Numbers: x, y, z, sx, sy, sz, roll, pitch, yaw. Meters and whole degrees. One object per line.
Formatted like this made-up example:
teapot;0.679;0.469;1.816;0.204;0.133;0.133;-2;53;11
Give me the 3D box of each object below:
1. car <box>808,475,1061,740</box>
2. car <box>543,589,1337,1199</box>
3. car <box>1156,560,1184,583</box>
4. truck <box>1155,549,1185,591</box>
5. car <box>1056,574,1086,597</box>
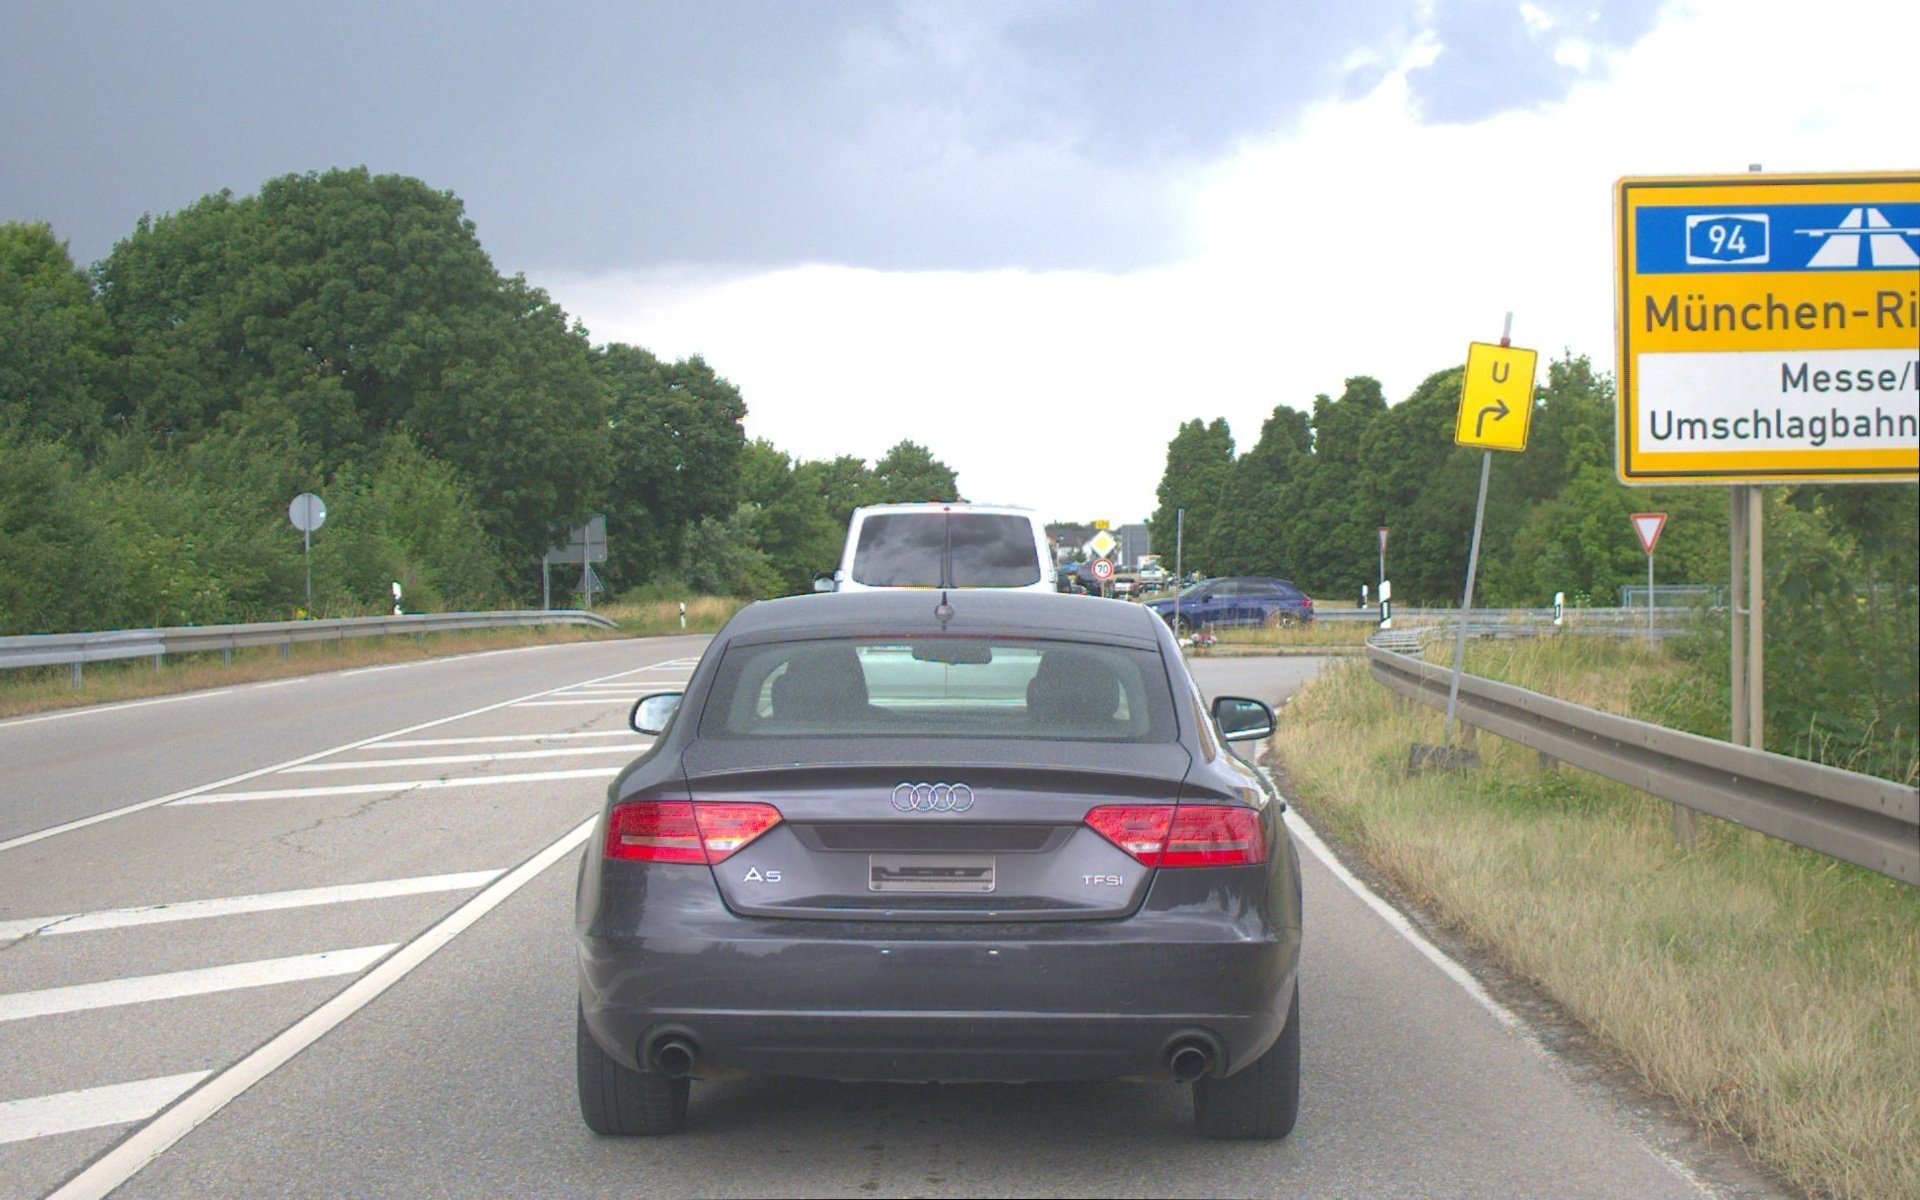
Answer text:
car;-0.205;0.022;28.307;1.910;2.007;4.000;1;1;0
car;-0.063;0.681;9.396;1.779;1.394;3.336;0;1;-1
car;15.931;-2.149;261.214;1.994;1.686;4.000;1;1;2
truck;14.831;-2.138;242.809;1.994;2.908;5.792;1;1;3
car;7.213;-0.954;223.426;1.734;1.449;4.000;1;1;-1
